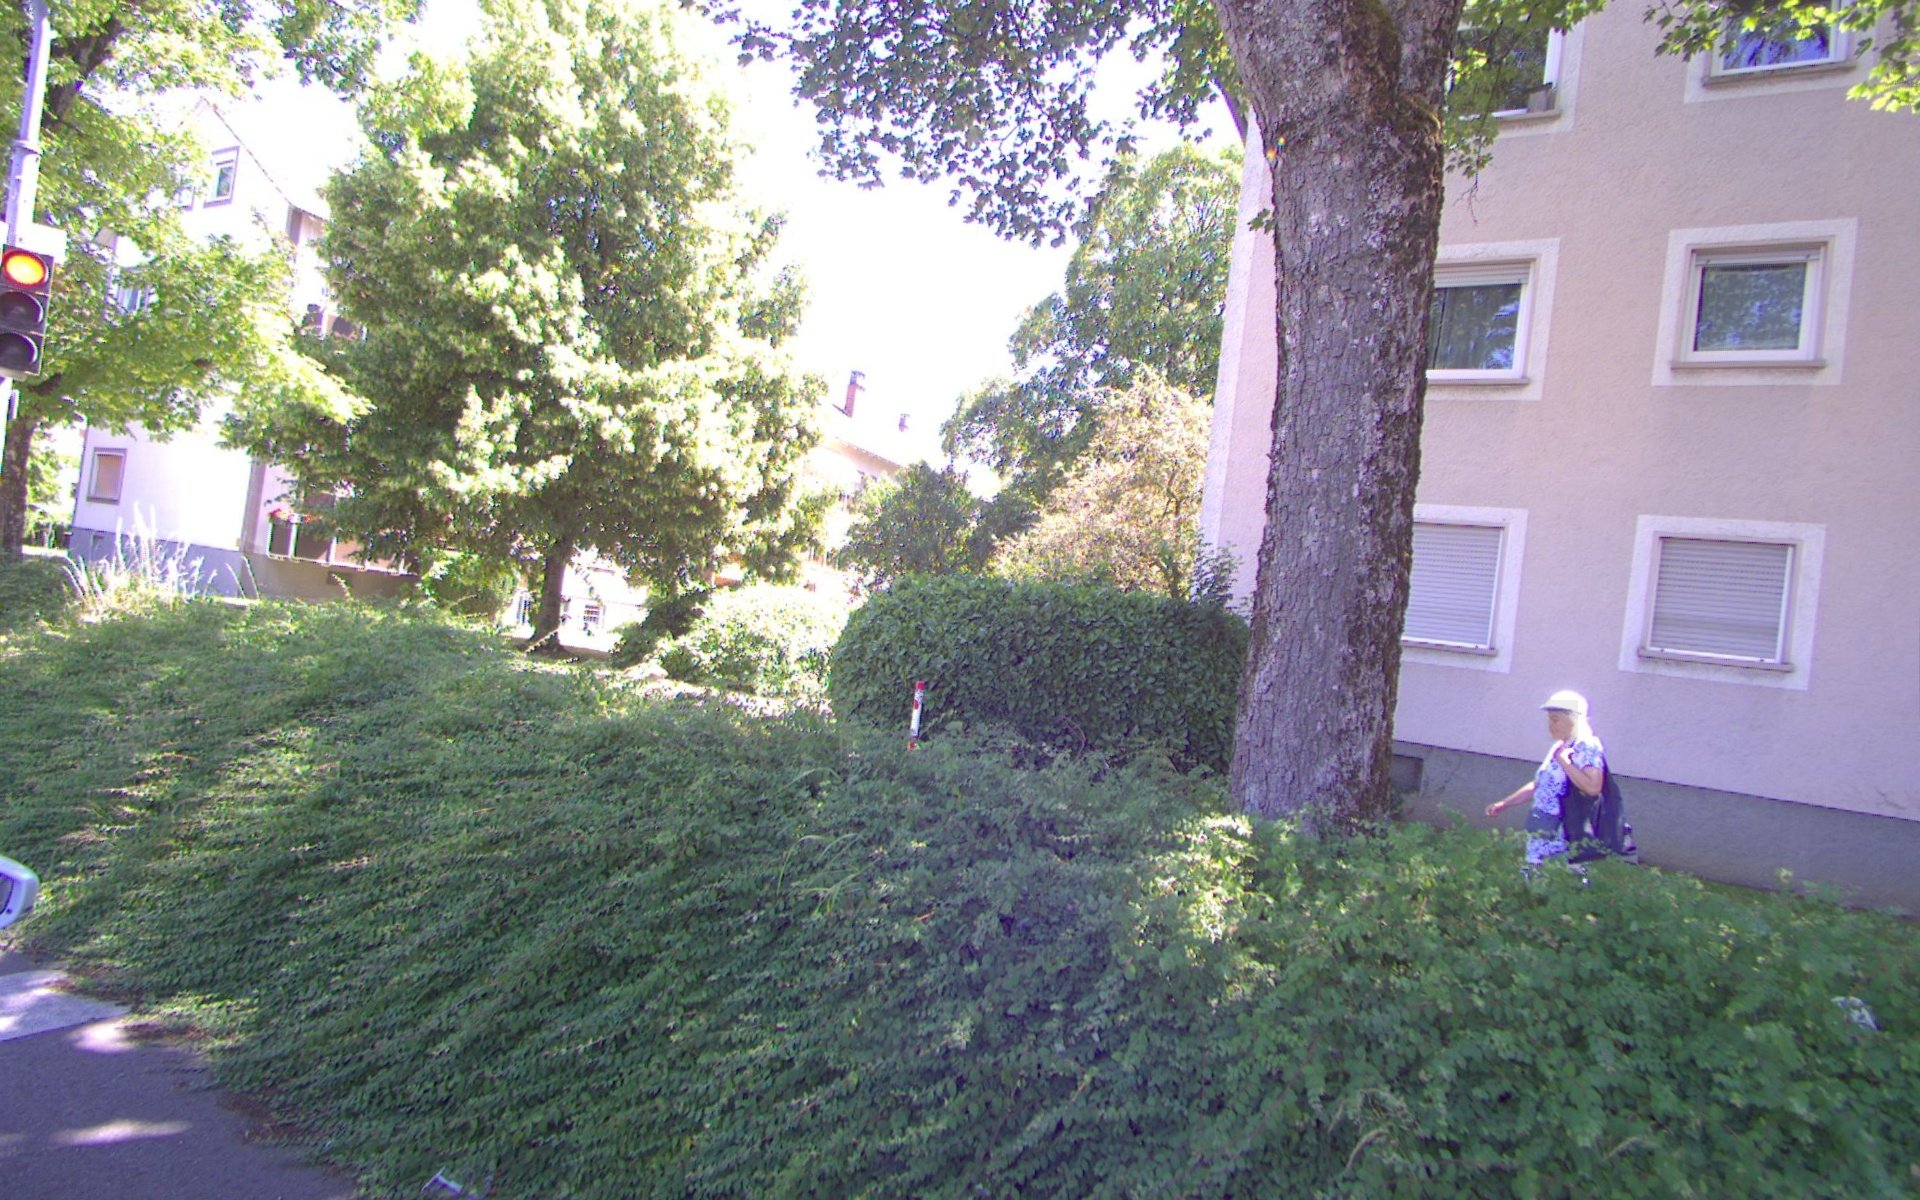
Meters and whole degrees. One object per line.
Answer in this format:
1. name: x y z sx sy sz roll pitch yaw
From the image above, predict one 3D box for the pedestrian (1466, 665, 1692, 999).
1. pedestrian: 3.496 1.253 5.768 0.836 1.653 0.720 7 0 23
